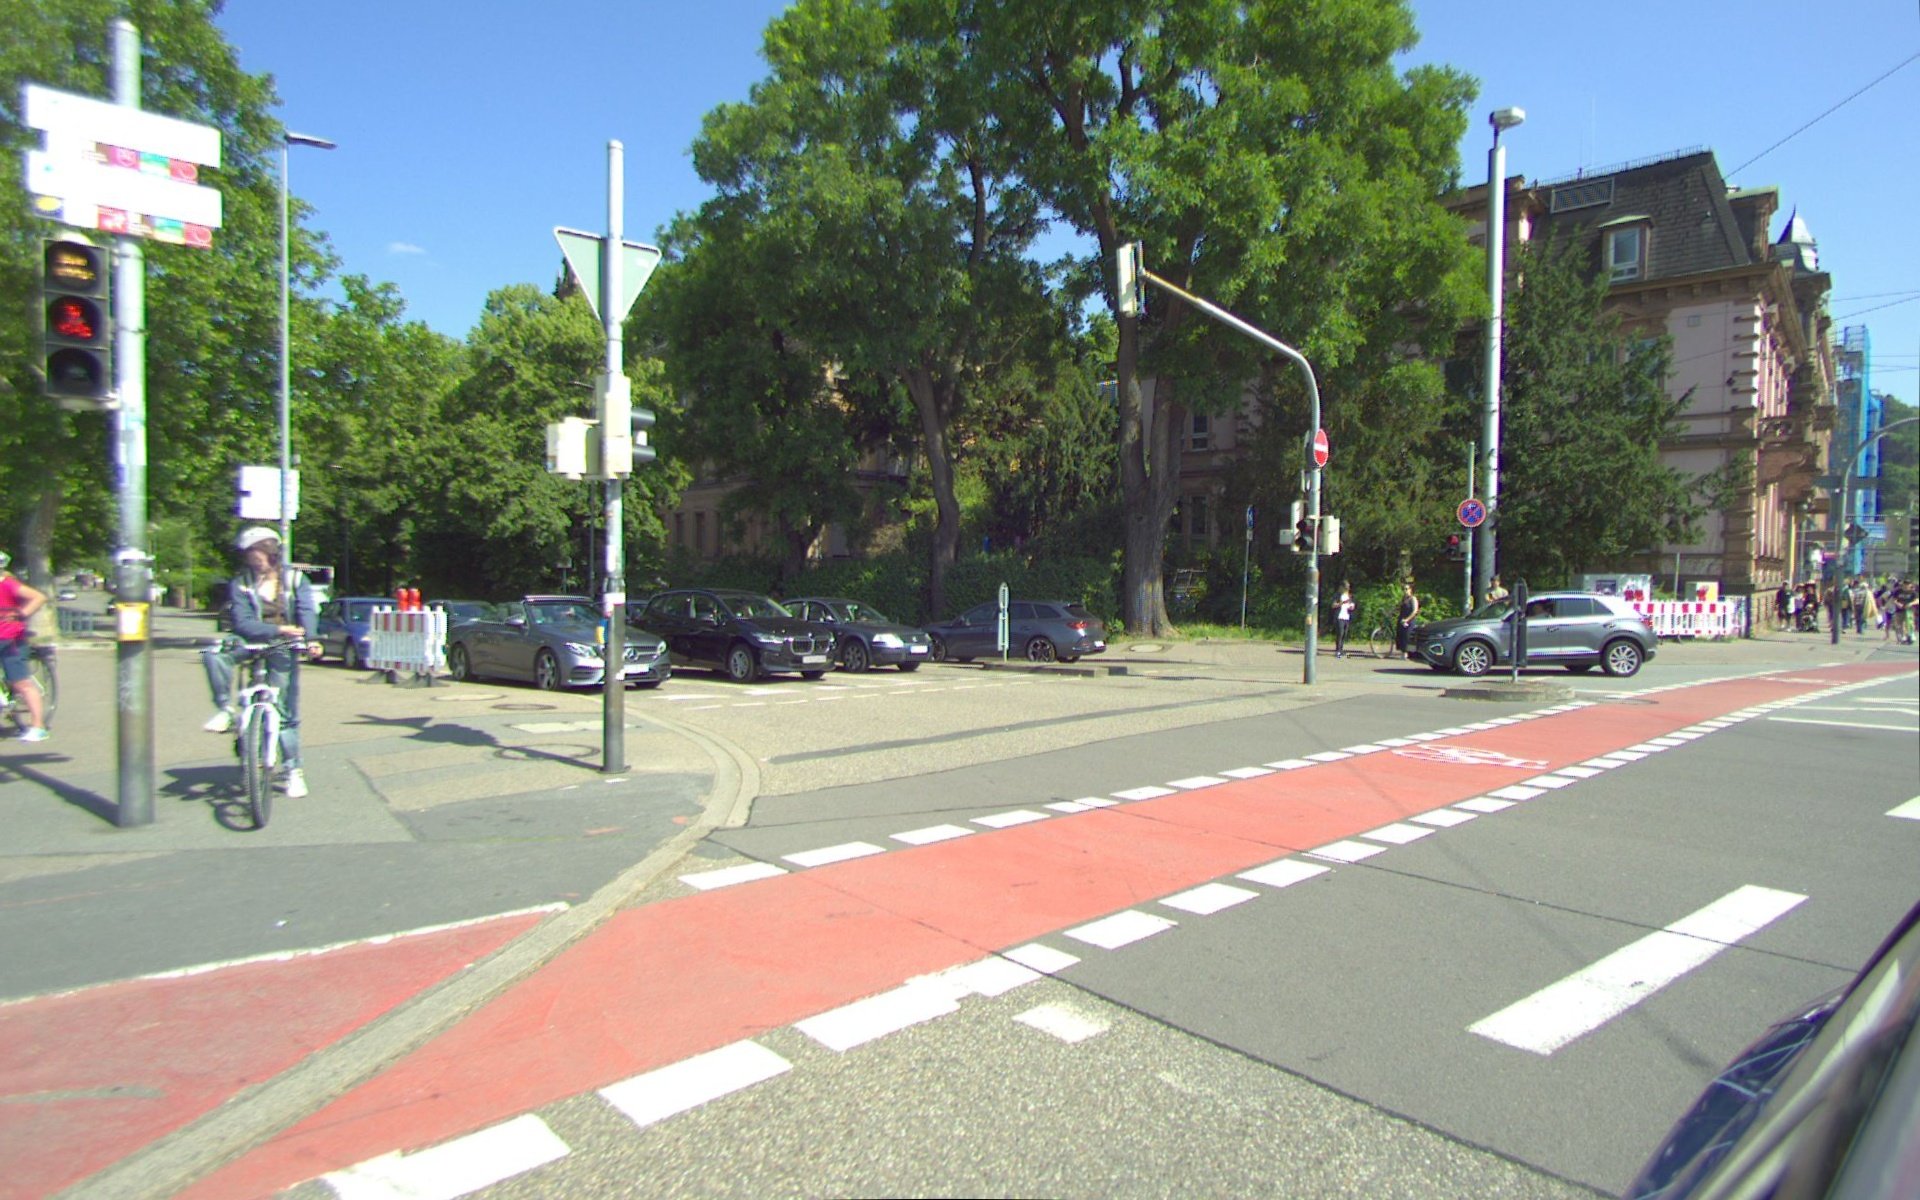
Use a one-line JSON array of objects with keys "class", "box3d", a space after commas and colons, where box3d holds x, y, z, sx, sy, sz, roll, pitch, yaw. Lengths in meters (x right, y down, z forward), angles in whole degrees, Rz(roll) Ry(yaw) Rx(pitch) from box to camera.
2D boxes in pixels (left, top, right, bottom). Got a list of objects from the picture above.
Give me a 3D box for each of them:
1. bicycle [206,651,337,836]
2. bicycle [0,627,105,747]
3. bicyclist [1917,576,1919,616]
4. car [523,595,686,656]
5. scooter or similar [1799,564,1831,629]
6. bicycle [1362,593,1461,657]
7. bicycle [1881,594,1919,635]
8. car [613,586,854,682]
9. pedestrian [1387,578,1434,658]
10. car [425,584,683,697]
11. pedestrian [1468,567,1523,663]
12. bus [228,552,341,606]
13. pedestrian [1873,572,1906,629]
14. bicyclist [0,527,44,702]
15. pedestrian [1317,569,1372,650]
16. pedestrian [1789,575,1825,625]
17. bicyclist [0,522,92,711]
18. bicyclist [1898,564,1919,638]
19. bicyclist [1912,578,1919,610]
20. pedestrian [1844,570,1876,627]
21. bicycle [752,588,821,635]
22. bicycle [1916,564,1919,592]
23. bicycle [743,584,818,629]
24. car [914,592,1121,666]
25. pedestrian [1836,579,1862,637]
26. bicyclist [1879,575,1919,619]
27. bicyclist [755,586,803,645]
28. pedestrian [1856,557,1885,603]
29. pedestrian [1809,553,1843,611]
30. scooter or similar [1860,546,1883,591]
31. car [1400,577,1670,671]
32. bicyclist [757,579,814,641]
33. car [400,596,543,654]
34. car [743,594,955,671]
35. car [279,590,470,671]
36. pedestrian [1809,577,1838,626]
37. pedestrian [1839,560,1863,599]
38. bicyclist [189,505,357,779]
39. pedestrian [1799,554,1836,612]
[{"class": "bicycle", "box3d": [-4.222, 0.787, 6.148, 0.555, 0.837, 1.944, 0, 0, -37]}, {"class": "bicycle", "box3d": [-7.891, 0.694, 8.388, 0.553, 0.864, 1.949, 0, 0, -19]}, {"class": "bicyclist", "box3d": [36.038, -0.131, 37.392, 0.910, 1.454, 1.214, 3, 2, 42]}, {"class": "car", "box3d": [-9.103, 0.590, 25.781, 4.461, 1.397, 1.822, 1, 1, 38]}, {"class": "scooter or similar", "box3d": [27.513, -0.127, 32.565, 0.692, 2.038, 1.079, 3, 2, 42]}, {"class": "bicycle", "box3d": [10.264, 0.548, 22.987, 2.229, 1.219, 0.805, -4, 6, -26]}, {"class": "bicycle", "box3d": [27.452, 0.407, 29.524, 0.778, 1.116, 2.107, 3, 3, 41]}, {"class": "car", "box3d": [-4.134, 0.512, 18.127, 4.461, 1.525, 1.822, 1, 1, 38]}, {"class": "pedestrian", "box3d": [10.117, 0.381, 22.718, 0.674, 1.731, 0.879, 3, 2, 44]}, {"class": "car", "box3d": [-6.543, 0.525, 16.111, 4.463, 1.412, 1.822, 3, 3, 38]}, {"class": "pedestrian", "box3d": [11.849, 0.307, 22.383, 0.775, 2.038, 1.043, 3, 2, 43]}, {"class": "bus", "box3d": [-37.597, -1.241, 56.192, 8.819, 2.817, 3.063, 2, 3, 42]}, {"class": "pedestrian", "box3d": [29.873, -0.005, 32.533, 0.705, 1.774, 0.890, 3, 3, 41]}, {"class": "bicyclist", "box3d": [-8.740, 0.120, 8.861, 0.910, 1.492, 1.083, 0, 0, -34]}, {"class": "pedestrian", "box3d": [8.930, 0.205, 23.512, 1.052, 1.802, 0.694, 1, 5, 34]}, {"class": "pedestrian", "box3d": [28.821, -0.018, 34.420, 0.811, 1.621, 0.803, 5, 4, 42]}, {"class": "bicyclist", "box3d": [-7.944, 0.130, 8.433, 0.746, 1.492, 1.085, 0, 0, -21]}, {"class": "bicyclist", "box3d": [26.807, 0.027, 28.166, 0.941, 2.038, 0.817, 3, 2, 42]}, {"class": "bicyclist", "box3d": [38.707, -0.243, 40.399, 0.910, 1.249, 1.214, 3, 3, 42]}, {"class": "pedestrian", "box3d": [29.227, -0.052, 32.865, 0.705, 1.790, 0.890, 3, 2, 41]}, {"class": "bicycle", "box3d": [-4.825, 0.303, 28.140, 1.990, 1.241, 0.709, 0, 0, 35]}, {"class": "bicycle", "box3d": [38.591, -0.875, 40.275, 0.641, 1.096, 2.459, 3, 3, 41]}, {"class": "bicycle", "box3d": [-5.029, 0.171, 28.254, 2.232, 1.179, 0.610, 1, 1, 32]}, {"class": "car", "box3d": [1.281, 0.575, 22.745, 4.243, 1.509, 1.981, 0, 1, 27]}, {"class": "pedestrian", "box3d": [29.626, 0.252, 33.730, 0.634, 1.915, 0.890, 1, 1, 41]}, {"class": "bicyclist", "box3d": [27.406, -0.089, 29.457, 0.920, 1.234, 0.957, 3, 2, 42]}, {"class": "bicyclist", "box3d": [-5.052, 0.424, 28.265, 1.051, 1.573, 0.769, 2, 1, 31]}, {"class": "pedestrian", "box3d": [41.354, -0.914, 45.966, 0.811, 2.037, 0.803, 5, 4, 42]}, {"class": "pedestrian", "box3d": [31.420, -0.668, 36.718, 0.811, 2.037, 0.803, 5, 4, 42]}, {"class": "scooter or similar", "box3d": [41.625, -1.443, 46.231, 0.692, 2.038, 1.079, 3, 2, 42]}, {"class": "car", "box3d": [10.679, 0.401, 19.087, 3.925, 1.534, 1.933, 2, 2, 7]}, {"class": "bicyclist", "box3d": [-4.843, 0.262, 28.141, 1.081, 1.699, 1.157, 0, 0, 34]}, {"class": "car", "box3d": [-13.666, 0.645, 28.227, 4.461, 1.461, 1.822, 1, 1, 38]}, {"class": "car", "box3d": [-2.314, 0.572, 20.452, 4.297, 1.375, 1.855, 1, 1, 41]}, {"class": "car", "box3d": [-11.944, 0.536, 20.540, 4.461, 1.466, 1.822, 1, 1, 38]}, {"class": "pedestrian", "box3d": [37.619, 0.056, 44.107, 0.811, 2.037, 0.803, 5, 4, 42]}, {"class": "pedestrian", "box3d": [39.658, -0.910, 45.062, 0.618, 1.715, 0.706, -2, 3, -44]}, {"class": "bicyclist", "box3d": [-4.218, 0.222, 6.192, 0.786, 1.492, 1.082, 0, 0, -38]}, {"class": "pedestrian", "box3d": [28.118, -0.570, 33.185, 0.811, 1.814, 0.803, 5, 4, 42]}]
